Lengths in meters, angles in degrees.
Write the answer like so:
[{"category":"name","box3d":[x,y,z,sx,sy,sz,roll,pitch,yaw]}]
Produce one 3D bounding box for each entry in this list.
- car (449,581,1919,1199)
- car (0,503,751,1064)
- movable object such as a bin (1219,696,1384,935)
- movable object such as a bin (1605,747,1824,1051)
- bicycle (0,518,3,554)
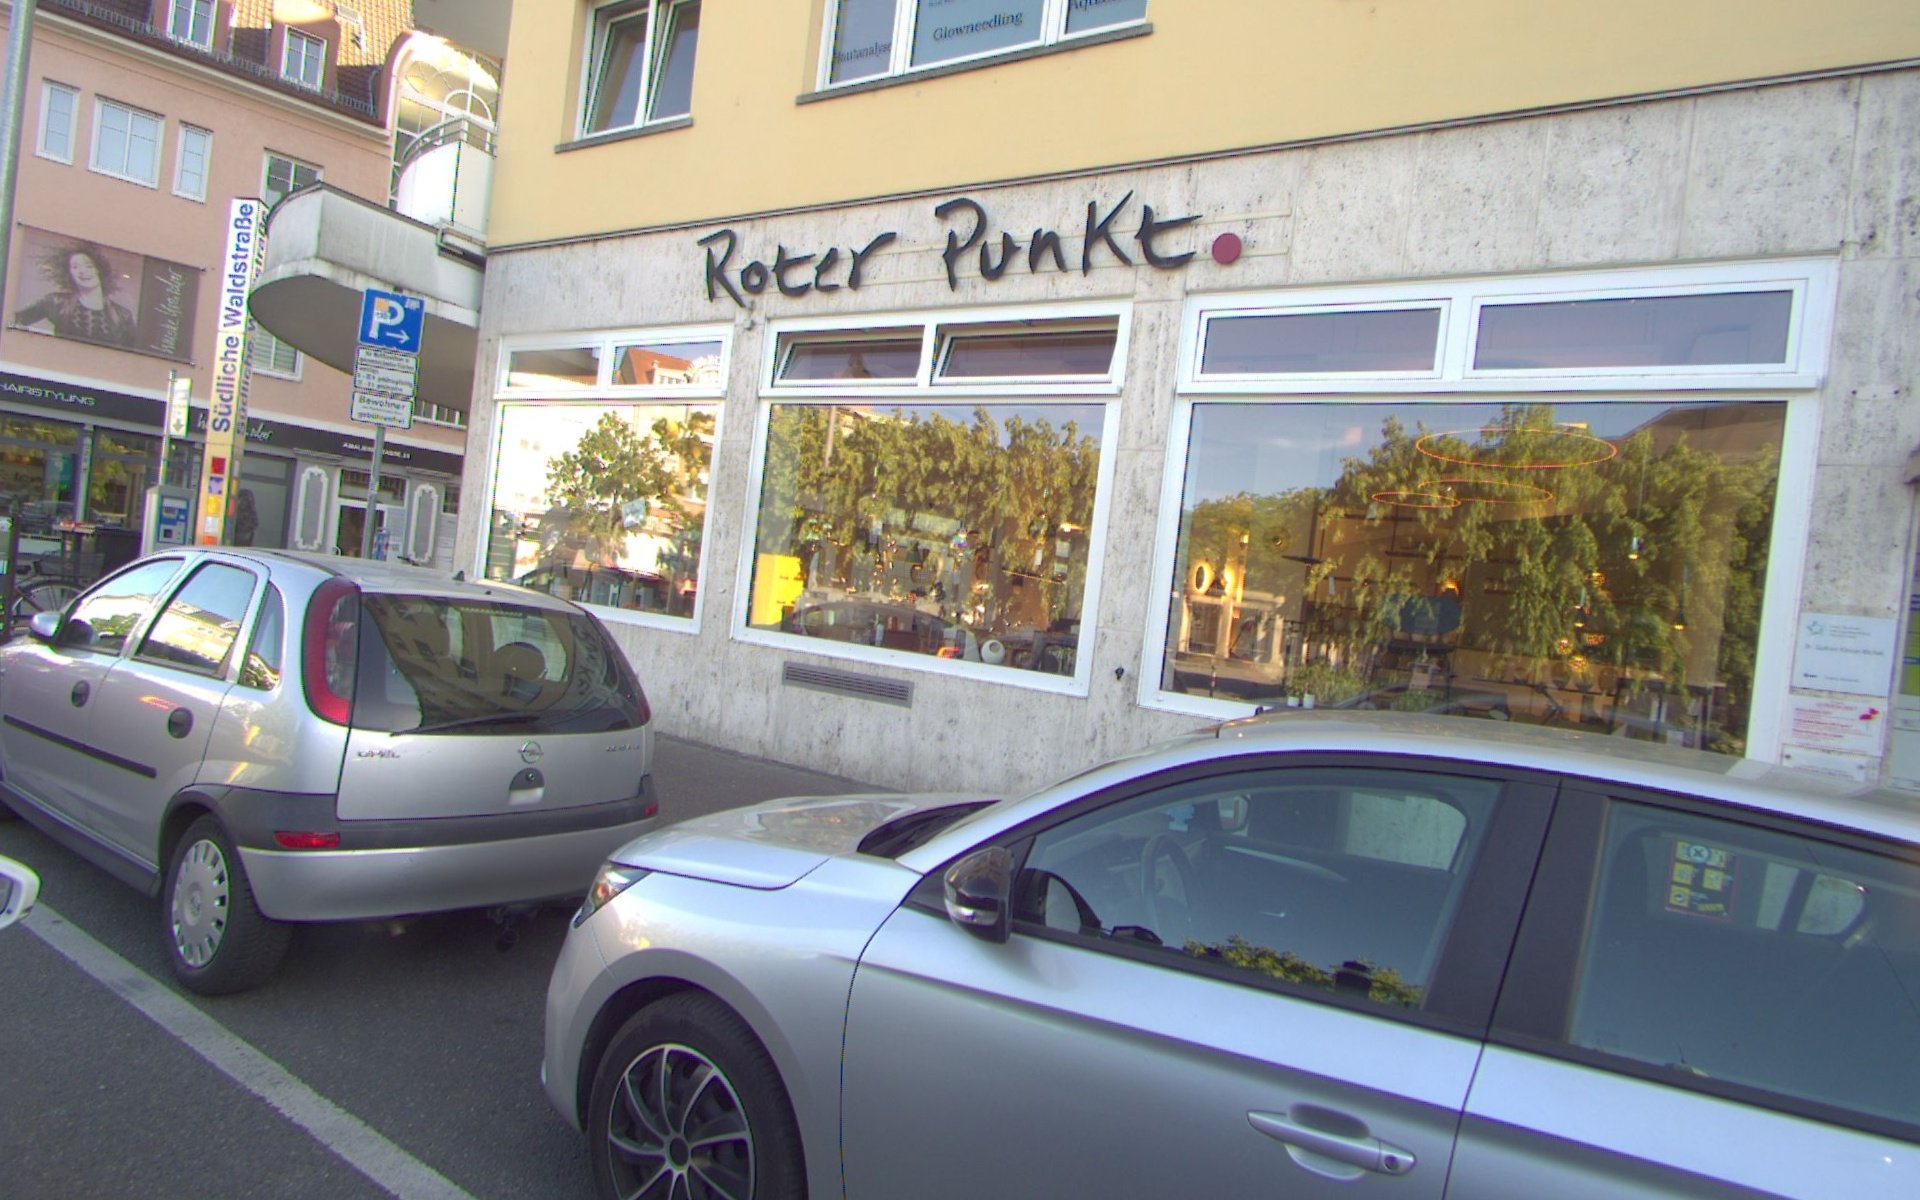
[{"category":"car","box3d":[0.930,0.938,2.217,4.009,1.444,1.673,7,-1,31]},{"category":"car","box3d":[-2.961,0.451,4.460,3.822,1.411,1.624,7,-1,33]},{"category":"movable object such as a bin","box3d":[1.869,1.124,5.479,0.609,1.082,0.703,7,3,31]},{"category":"movable object such as a bin","box3d":[3.361,1.286,4.551,0.609,1.082,0.703,7,3,31]},{"category":"bicycle","box3d":[-9.306,-0.219,8.520,0.425,1.175,1.629,7,1,30]}]
